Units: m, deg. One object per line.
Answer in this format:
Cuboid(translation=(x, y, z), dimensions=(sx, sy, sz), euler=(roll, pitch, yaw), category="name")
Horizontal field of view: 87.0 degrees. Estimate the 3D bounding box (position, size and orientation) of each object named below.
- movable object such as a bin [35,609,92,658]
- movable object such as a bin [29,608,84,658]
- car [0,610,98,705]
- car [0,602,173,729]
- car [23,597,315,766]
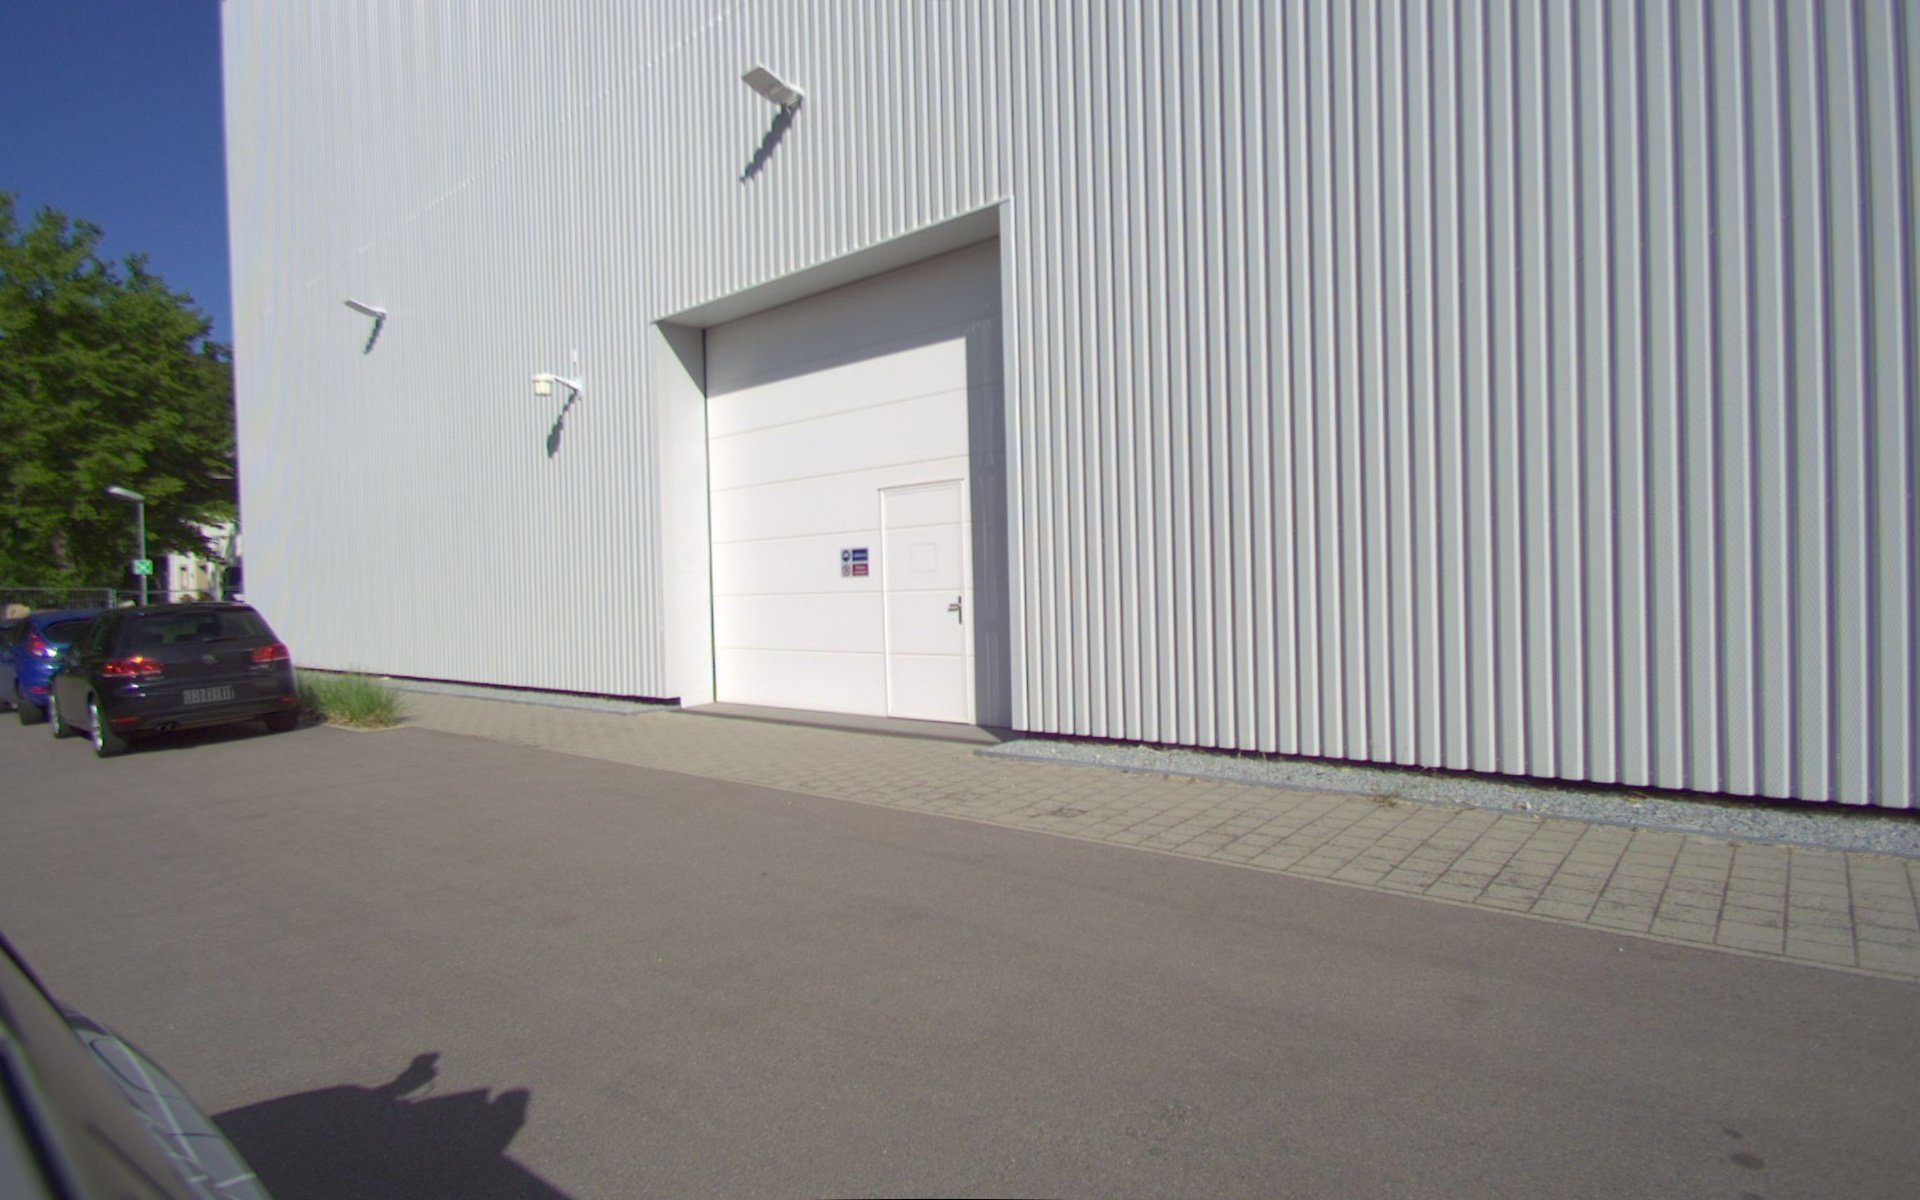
Cuboid(translation=(-26.941, 0.992, 30.408), dimensions=(1.288, 1.445, 1.126), euler=(-2, -1, 41), category="movable object such as a bin")
Cuboid(translation=(-27.962, 1.019, 31.312), dimensions=(1.279, 1.489, 1.126), euler=(-3, -2, 41), category="movable object such as a bin")
Cuboid(translation=(-16.864, 1.000, 17.934), dimensions=(3.794, 1.459, 1.695), euler=(-2, 2, 39), category="car")
Cuboid(translation=(-12.662, 0.868, 14.377), dimensions=(3.518, 1.499, 1.533), euler=(-2, 2, 39), category="car")
Cuboid(translation=(-9.044, 0.808, 11.435), dimensions=(4.312, 1.456, 1.738), euler=(-2, 3, 41), category="car")
